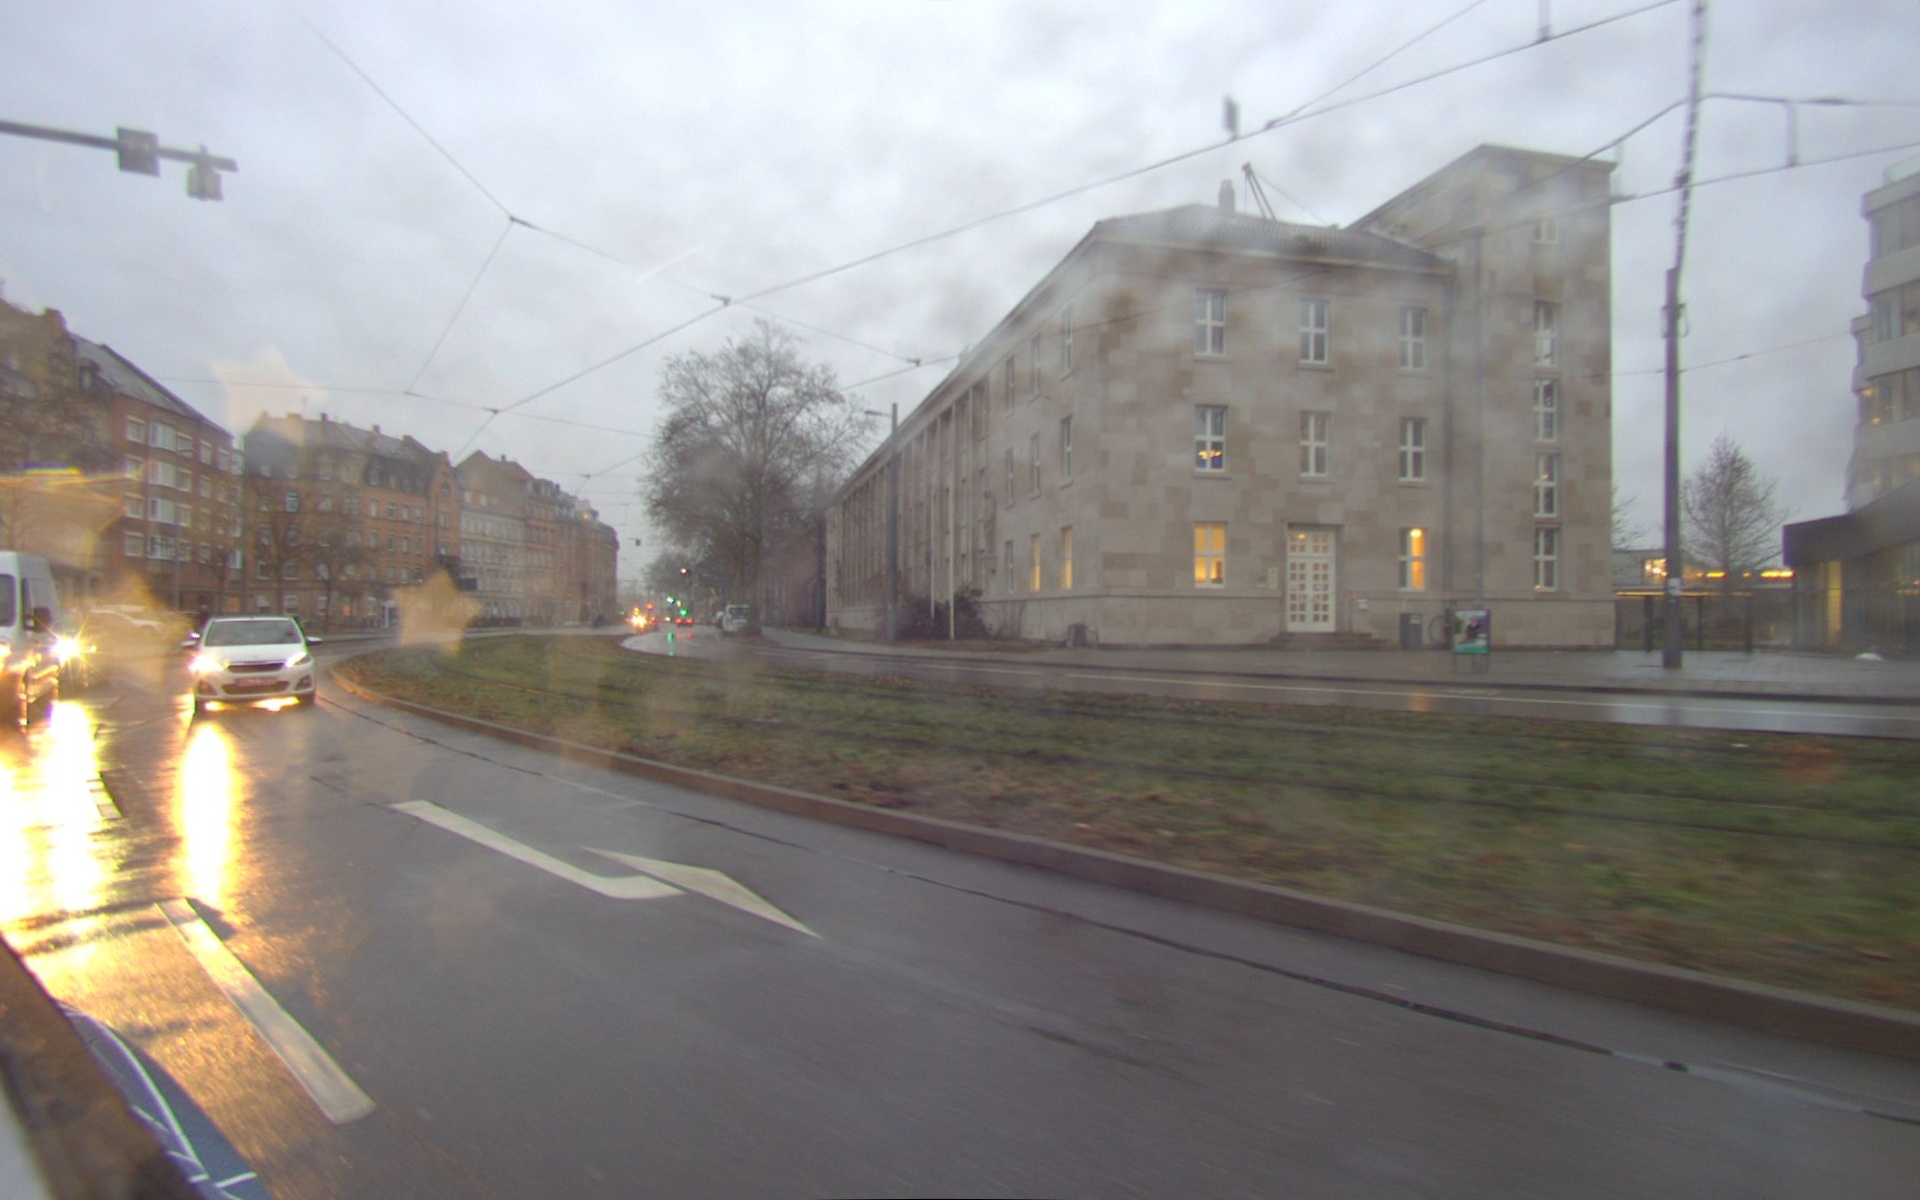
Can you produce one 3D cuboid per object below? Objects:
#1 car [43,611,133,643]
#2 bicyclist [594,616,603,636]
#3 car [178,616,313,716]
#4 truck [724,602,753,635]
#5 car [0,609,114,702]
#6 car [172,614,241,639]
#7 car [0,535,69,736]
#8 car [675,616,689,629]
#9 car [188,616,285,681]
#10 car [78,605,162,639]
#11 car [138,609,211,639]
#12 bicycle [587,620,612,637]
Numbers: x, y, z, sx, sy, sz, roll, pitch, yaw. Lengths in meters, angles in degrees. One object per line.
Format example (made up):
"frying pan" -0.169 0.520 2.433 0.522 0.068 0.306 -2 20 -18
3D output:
"car" -41.239 1.279 47.942 3.134 1.440 1.431 1 -2 -37
"bicyclist" -37.412 2.660 104.761 0.766 2.029 0.832 0 0 -18
"car" -11.664 0.998 16.676 1.662 1.441 3.356 0 -1 -33
"truck" -14.630 1.229 66.853 1.808 2.060 4.010 0 -1 -12
"car" -18.616 1.048 20.520 1.846 1.701 4.181 0 -1 -34
"car" -44.043 1.524 59.224 3.134 1.424 1.385 1 -2 -35
"car" -14.241 0.473 14.217 2.207 2.481 5.681 0 -1 -38
"car" -34.614 2.777 126.089 1.662 1.652 3.657 0 -1 -15
"car" -18.105 1.168 25.408 1.846 1.486 4.181 0 -1 -35
"car" -41.973 1.112 50.662 3.134 1.636 1.431 1 -2 -37
"car" -43.439 1.317 56.014 3.134 1.636 1.449 1 -2 -37
"bicycle" -37.318 2.954 104.799 2.411 1.719 0.848 -1 0 -19
